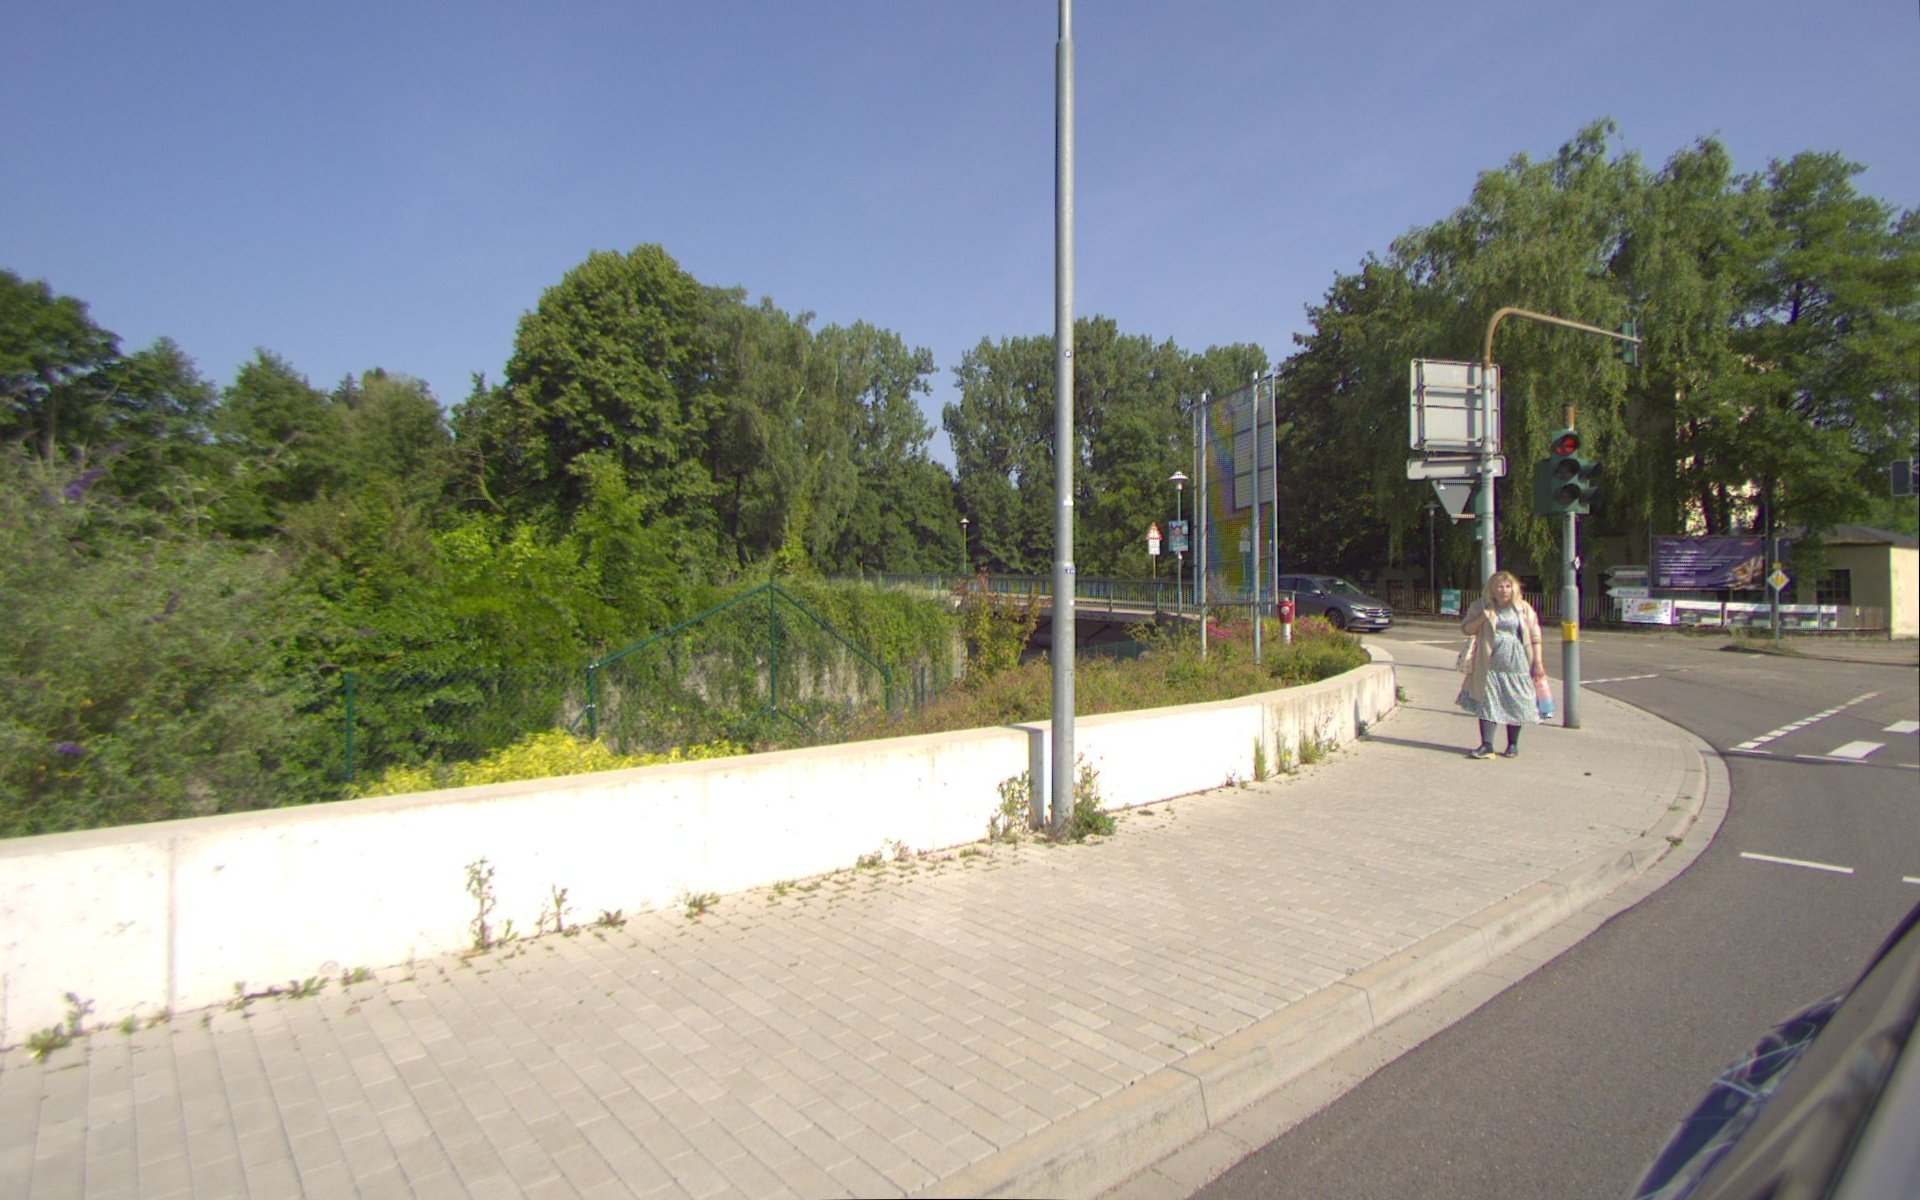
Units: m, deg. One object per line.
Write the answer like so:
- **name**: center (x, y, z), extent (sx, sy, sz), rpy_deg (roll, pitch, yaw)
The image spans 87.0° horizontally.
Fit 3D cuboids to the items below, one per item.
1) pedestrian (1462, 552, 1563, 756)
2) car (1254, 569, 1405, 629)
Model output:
- **pedestrian**: center (4.783, 0.444, 8.800), extent (0.705, 1.692, 0.588), rpy_deg (0, 0, 23)
- **car**: center (10.519, -0.090, 29.137), extent (1.633, 1.536, 4.093), rpy_deg (0, 3, -26)
